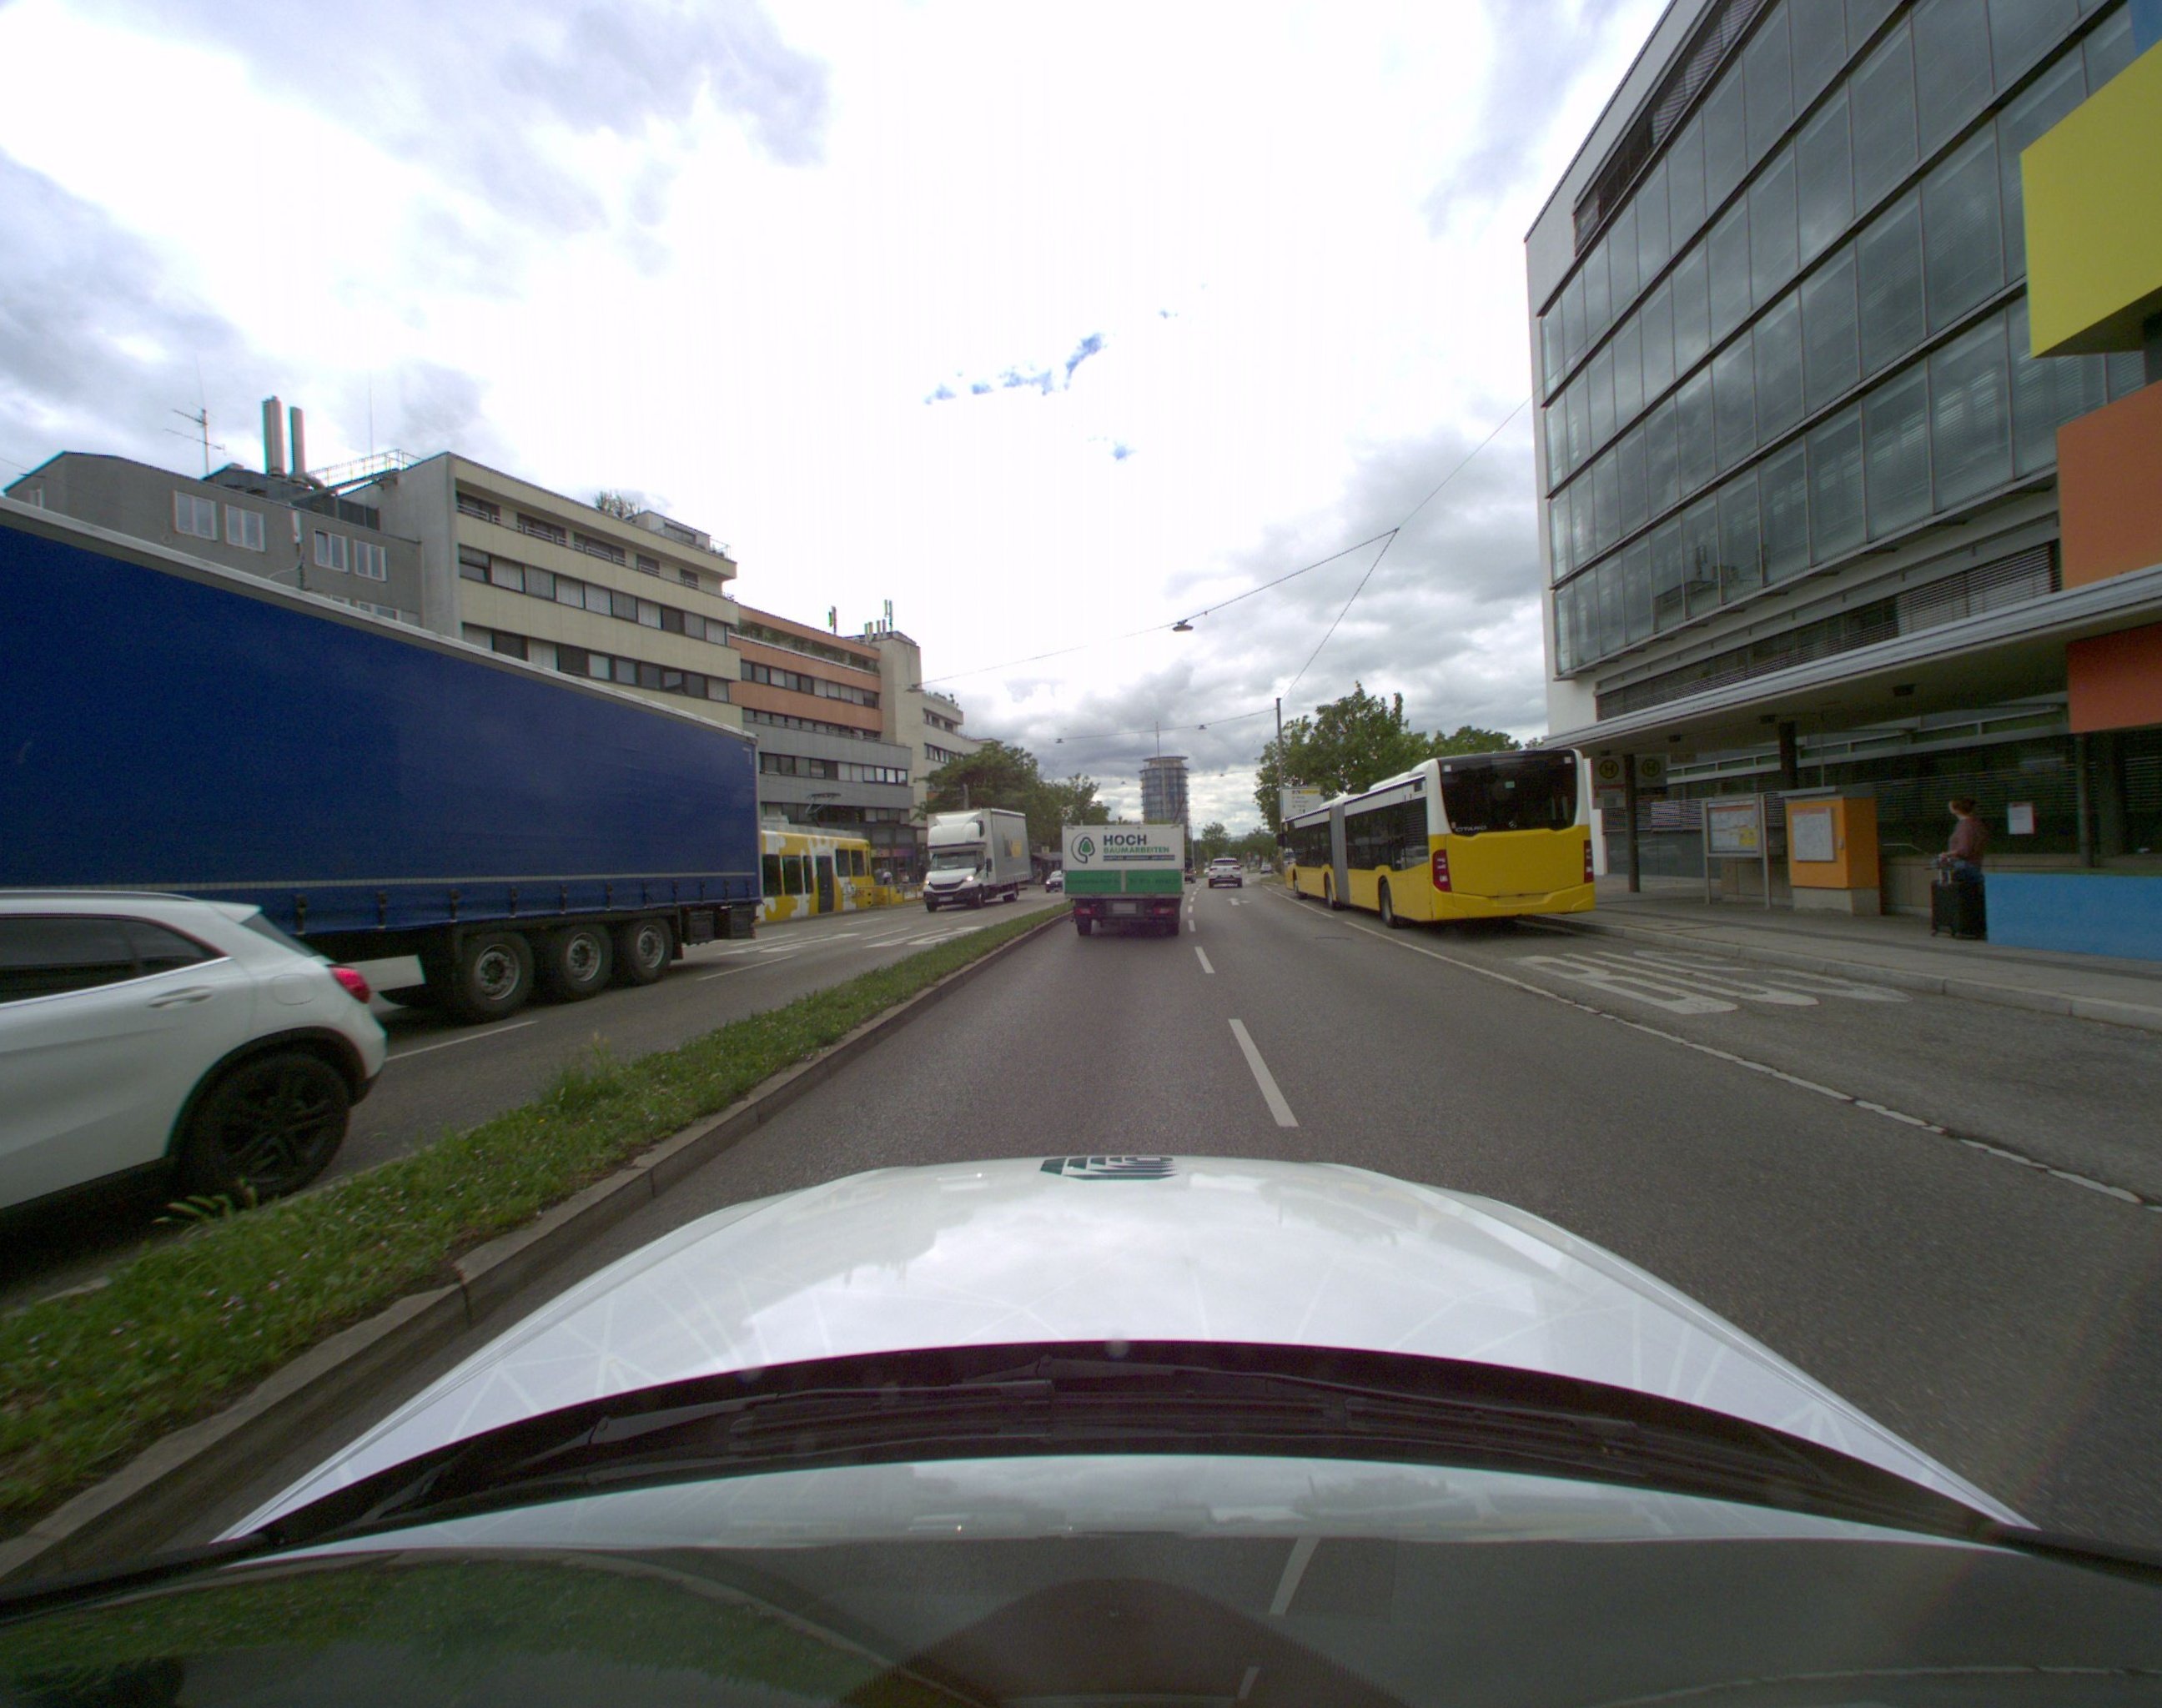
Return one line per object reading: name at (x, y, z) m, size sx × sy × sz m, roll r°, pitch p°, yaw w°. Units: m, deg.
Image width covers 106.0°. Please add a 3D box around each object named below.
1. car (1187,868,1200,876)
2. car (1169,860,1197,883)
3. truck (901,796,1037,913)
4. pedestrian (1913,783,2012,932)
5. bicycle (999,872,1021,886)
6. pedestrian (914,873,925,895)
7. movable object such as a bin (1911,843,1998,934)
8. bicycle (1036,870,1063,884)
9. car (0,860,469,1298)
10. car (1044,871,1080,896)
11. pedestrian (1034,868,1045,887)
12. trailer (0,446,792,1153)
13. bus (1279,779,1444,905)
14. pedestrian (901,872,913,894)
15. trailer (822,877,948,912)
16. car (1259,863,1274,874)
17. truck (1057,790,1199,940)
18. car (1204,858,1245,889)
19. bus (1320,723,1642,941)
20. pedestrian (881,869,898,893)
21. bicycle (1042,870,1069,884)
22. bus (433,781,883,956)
car at (22.639, 3.635, 164.011) m, size 1.978 × 1.486 × 4.017 m, roll -3°, pitch -2°, yaw 16°
car at (7.277, 1.217, 58.620) m, size 1.858 × 1.505 × 4.781 m, roll -2°, pitch 0°, yaw 6°
truck at (-4.166, 0.052, 32.934) m, size 2.922 × 3.958 × 9.184 m, roll -2°, pitch -1°, yaw 8°
pedestrian at (10.690, 0.042, 9.897) m, size 0.506 × 1.735 × 0.573 m, roll -2°, pitch -1°, yaw 4°
bicycle at (-6.231, 2.186, 71.447) m, size 1.975 × 1.161 × 0.598 m, roll 0°, pitch -1°, yaw -40°
pedestrian at (-11.854, 2.217, 59.759) m, size 0.595 × 1.573 × 0.622 m, roll -3°, pitch -1°, yaw 7°
movable object such as a bin at (10.358, 0.399, 9.669) m, size 0.418 × 1.029 × 0.533 m, roll -2°, pitch -1°, yaw 4°
bicycle at (-3.545, 2.641, 92.737) m, size 2.882 × 1.507 × 0.894 m, roll -3°, pitch -2°, yaw 9°
car at (-4.740, 0.844, 2.684) m, size 1.777 × 1.516 × 4.371 m, roll -3°, pitch 0°, yaw 6°
car at (-1.130, 1.805, 51.077) m, size 1.497 × 1.345 × 3.958 m, roll -5°, pitch -1°, yaw 8°
pedestrian at (-4.024, 2.258, 78.311) m, size 0.698 × 1.823 × 1.218 m, roll -1°, pitch -2°, yaw 14°
trailer at (-7.752, -0.297, 7.907) m, size 3.087 × 4.269 × 14.870 m, roll -3°, pitch 0°, yaw 6°
bus at (8.417, -0.259, 25.916) m, size 2.966 × 3.241 × 9.884 m, roll 0°, pitch -1°, yaw 7°
pedestrian at (-12.771, 2.147, 59.812) m, size 0.595 × 1.573 × 0.622 m, roll -3°, pitch -1°, yaw 7°
trailer at (-10.342, 2.091, 44.849) m, size 2.827 × 1.333 × 12.144 m, roll -3°, pitch -1°, yaw 6°
car at (28.130, 2.217, 123.762) m, size 1.981 × 1.552 × 4.011 m, roll -3°, pitch -2°, yaw 10°
truck at (1.187, 0.214, 17.790) m, size 2.458 × 2.611 × 6.559 m, roll -2°, pitch 0°, yaw 6°
car at (7.781, 1.018, 44.605) m, size 1.858 × 1.505 × 4.781 m, roll -2°, pitch 0°, yaw 6°
bus at (7.600, -0.284, 17.420) m, size 3.020 × 3.236 × 9.354 m, roll -3°, pitch -1°, yaw 6°
pedestrian at (-13.006, 1.832, 55.302) m, size 0.753 × 1.573 × 0.808 m, roll -2°, pitch -1°, yaw -38°
bicycle at (-2.948, 2.648, 94.712) m, size 2.882 × 1.507 × 0.808 m, roll -3°, pitch -2°, yaw 9°
bus at (-12.197, 0.462, 28.505) m, size 3.858 × 3.859 × 19.370 m, roll -3°, pitch -1°, yaw 6°
